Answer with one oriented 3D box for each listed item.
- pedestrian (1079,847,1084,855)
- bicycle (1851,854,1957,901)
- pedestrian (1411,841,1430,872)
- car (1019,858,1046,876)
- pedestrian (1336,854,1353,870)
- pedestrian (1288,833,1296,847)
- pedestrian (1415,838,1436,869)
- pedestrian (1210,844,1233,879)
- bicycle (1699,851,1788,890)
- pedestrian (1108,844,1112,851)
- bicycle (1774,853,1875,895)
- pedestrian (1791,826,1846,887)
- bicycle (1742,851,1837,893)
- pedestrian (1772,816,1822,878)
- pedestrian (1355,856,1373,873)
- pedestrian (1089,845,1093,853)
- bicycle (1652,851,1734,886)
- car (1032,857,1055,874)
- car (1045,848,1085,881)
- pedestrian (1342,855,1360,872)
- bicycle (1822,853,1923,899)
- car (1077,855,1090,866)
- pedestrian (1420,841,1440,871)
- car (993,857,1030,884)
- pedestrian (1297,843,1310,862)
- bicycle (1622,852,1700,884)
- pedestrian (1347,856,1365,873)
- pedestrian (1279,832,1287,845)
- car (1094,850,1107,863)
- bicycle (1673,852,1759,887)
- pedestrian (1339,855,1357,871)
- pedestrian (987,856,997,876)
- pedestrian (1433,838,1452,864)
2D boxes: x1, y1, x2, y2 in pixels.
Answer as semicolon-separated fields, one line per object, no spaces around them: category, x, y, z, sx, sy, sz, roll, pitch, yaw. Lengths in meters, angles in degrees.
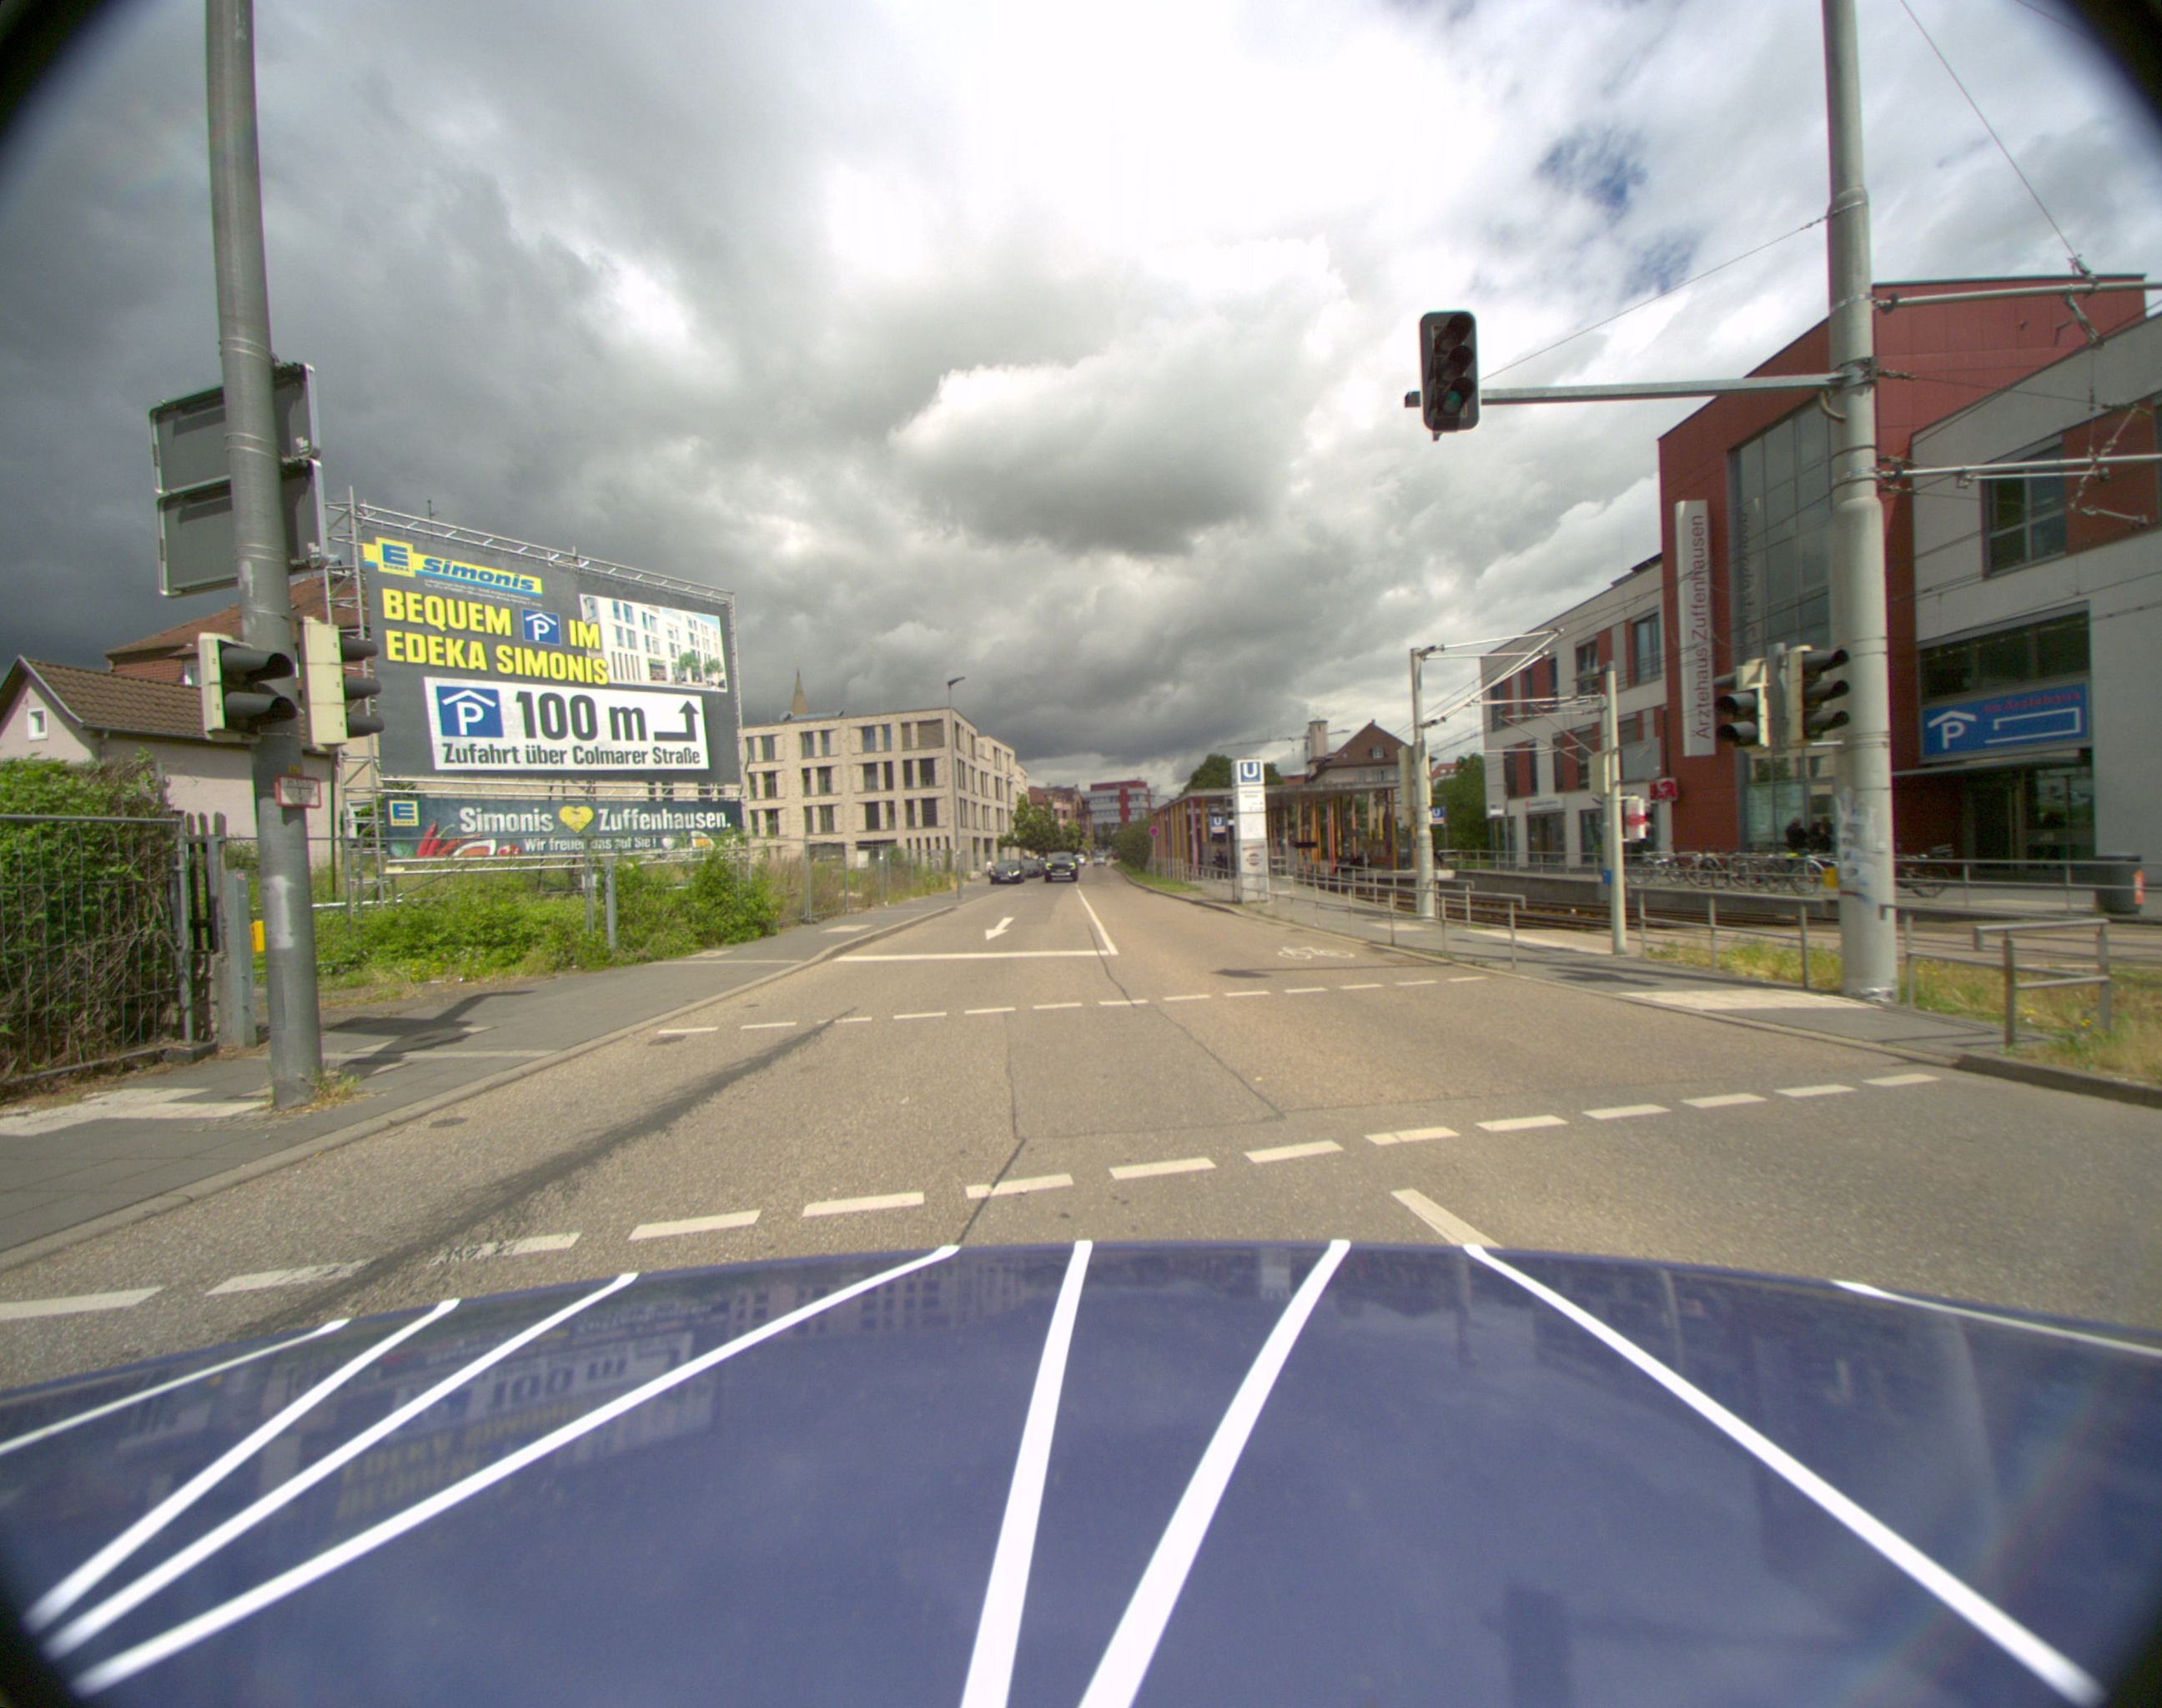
pedestrian;0.102;-0.521;133.993;0.673;1.503;0.783;-1;0;16
bicycle;17.713;0.507;16.369;1.739;0.947;0.428;-2;1;3
pedestrian;22.323;0.145;49.982;0.863;1.957;1.106;-1;2;6
car;-3.822;0.996;59.955;1.677;1.367;3.795;-2;0;3
pedestrian;19.280;0.601;55.690;0.943;1.128;0.886;-2;0;2
pedestrian;31.371;-2.025;113.045;1.125;2.002;1.662;-1;0;14
pedestrian;21.772;-0.026;48.066;0.864;1.957;1.106;-1;2;3
pedestrian;7.687;0.404;41.645;1.105;1.903;0.864;-1;2;2
bicycle;17.538;0.434;20.125;1.861;0.934;0.454;-2;1;5
pedestrian;6.157;-1.305;162.554;0.673;1.503;0.783;-1;0;11
bicycle;17.635;0.474;18.041;1.862;0.930;0.454;-2;1;3
pedestrian;21.088;0.052;21.736;0.790;1.688;0.933;-2;2;-28
bicycle;17.672;0.443;18.973;1.862;0.957;0.454;-2;1;3
pedestrian;21.999;-0.234;23.344;0.881;1.835;0.862;-4;3;-27
pedestrian;19.248;0.711;51.687;0.943;1.128;0.886;-2;0;2
pedestrian;1.895;-0.948;146.830;0.673;1.503;0.783;-2;0;3
bicycle;17.580;0.413;21.854;1.861;0.927;0.455;-2;1;9
car;-3.313;1.000;67.858;1.677;1.299;3.794;-1;1;3
car;-0.955;0.618;48.303;2.003;1.876;5.151;-1;1;4
pedestrian;19.067;0.679;53.600;0.943;1.128;0.886;-2;0;2
bicycle;17.702;0.493;17.002;1.739;0.952;0.428;-2;1;3
car;0.356;0.919;106.074;1.719;1.541;3.793;-1;0;1
pedestrian;22.927;0.127;49.931;0.863;1.957;1.106;-1;2;6
car;-4.174;0.968;46.111;1.677;1.415;3.794;-1;1;3
pedestrian;23.977;-0.150;81.915;1.127;2.002;1.179;-1;0;6
bicycle;17.521;0.427;22.982;1.861;0.876;0.455;-2;1;9
pedestrian;19.052;0.696;52.643;0.943;1.128;0.886;-2;0;2
pedestrian;32.016;-2.401;120.567;1.127;2.002;0.815;-1;0;6
car;2.526;0.341;99.988;1.588;1.528;3.946;-5;1;1
bicycle;17.555;0.427;21.026;1.861;0.917;0.455;-2;1;8
pedestrian;19.164;0.659;54.591;0.943;1.128;0.886;-2;0;2
pedestrian;-6.927;0.955;59.332;0.673;1.503;0.782;-2;0;1
pedestrian;27.671;-0.250;58.189;1.103;1.957;0.866;0;2;39
